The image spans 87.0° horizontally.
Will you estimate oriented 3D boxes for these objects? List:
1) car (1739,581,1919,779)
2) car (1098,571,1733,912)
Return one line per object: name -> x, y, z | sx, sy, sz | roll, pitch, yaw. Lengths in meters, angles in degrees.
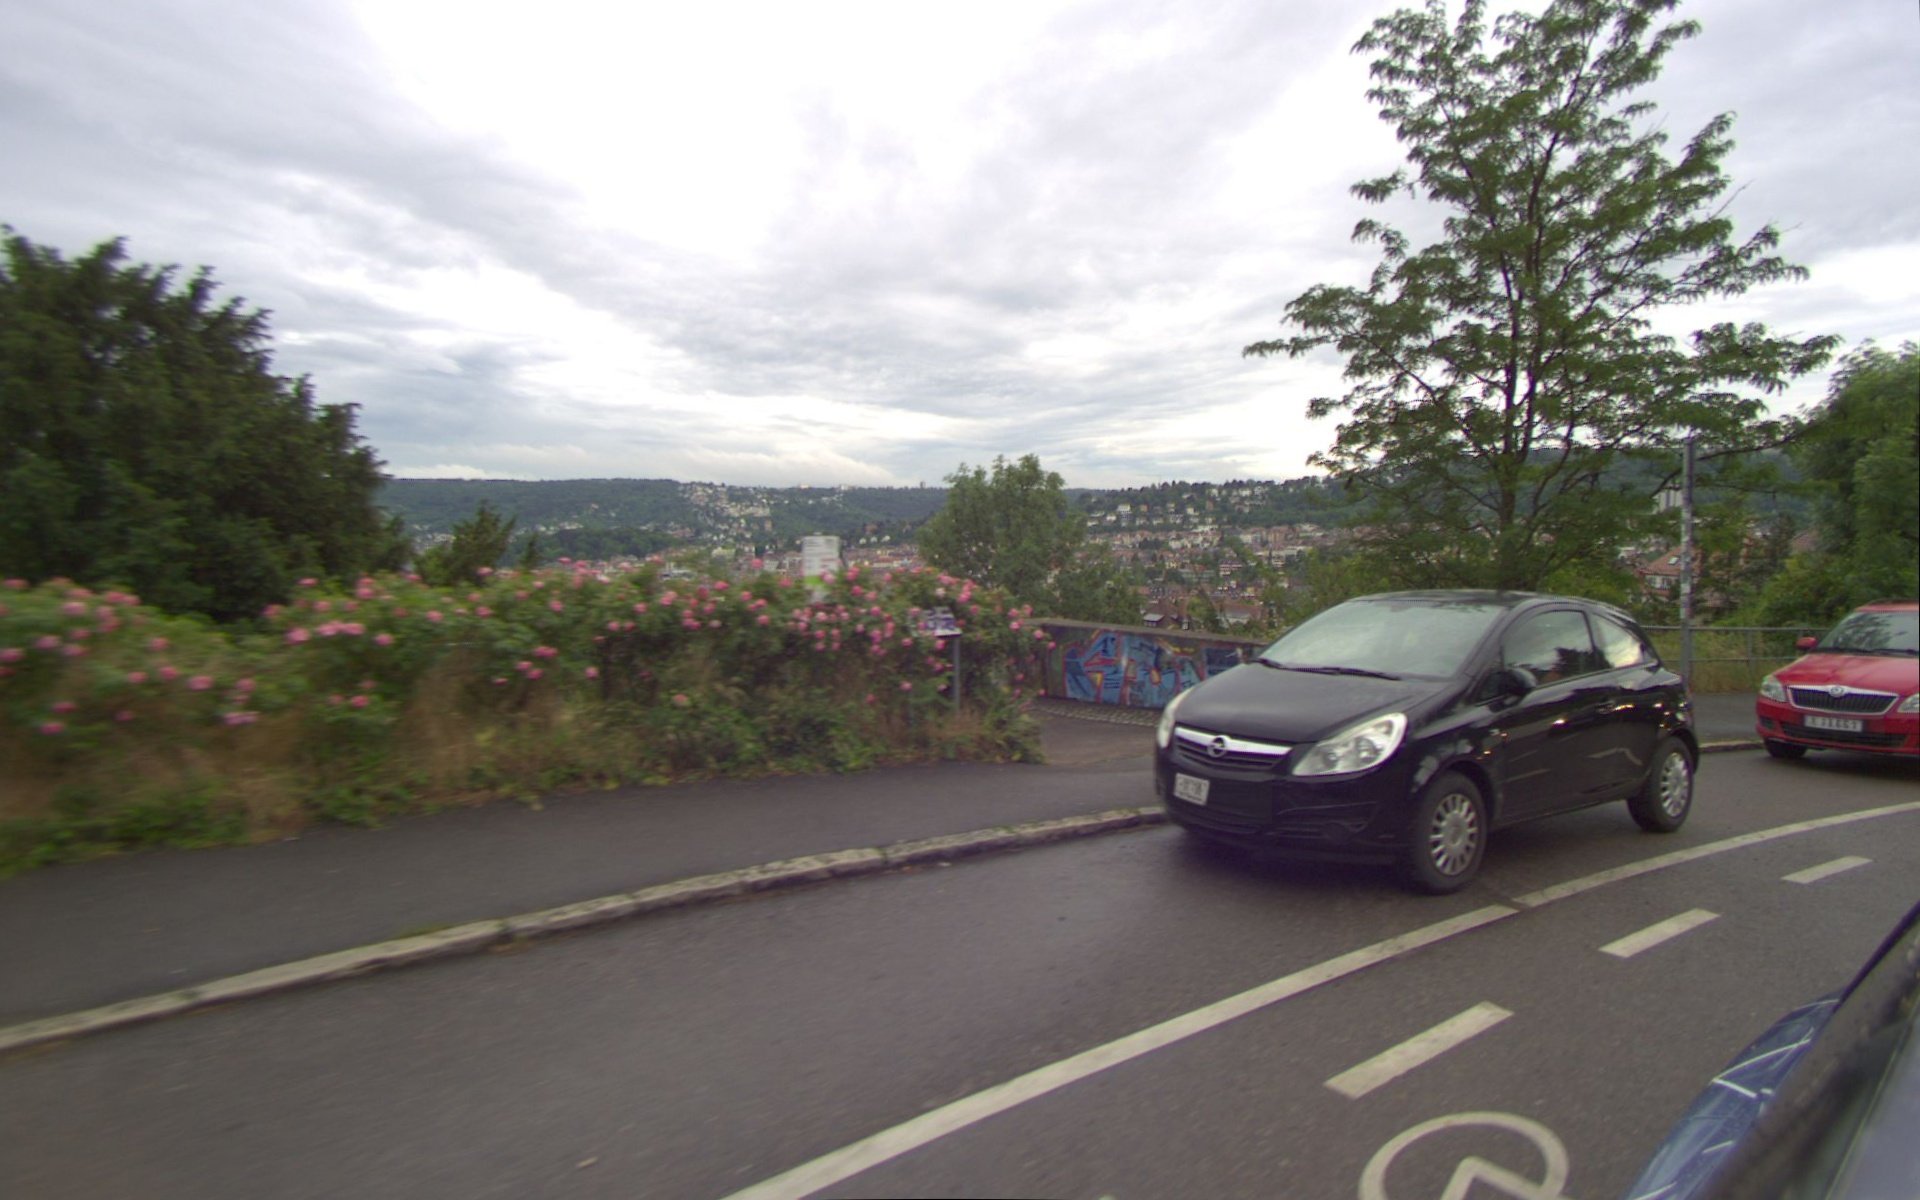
car -> 9.332, 0.669, 9.424 | 4.128, 1.559, 1.628 | 1, 1, -27
car -> 2.870, 0.614, 6.126 | 3.871, 1.462, 1.701 | 1, 0, -34
